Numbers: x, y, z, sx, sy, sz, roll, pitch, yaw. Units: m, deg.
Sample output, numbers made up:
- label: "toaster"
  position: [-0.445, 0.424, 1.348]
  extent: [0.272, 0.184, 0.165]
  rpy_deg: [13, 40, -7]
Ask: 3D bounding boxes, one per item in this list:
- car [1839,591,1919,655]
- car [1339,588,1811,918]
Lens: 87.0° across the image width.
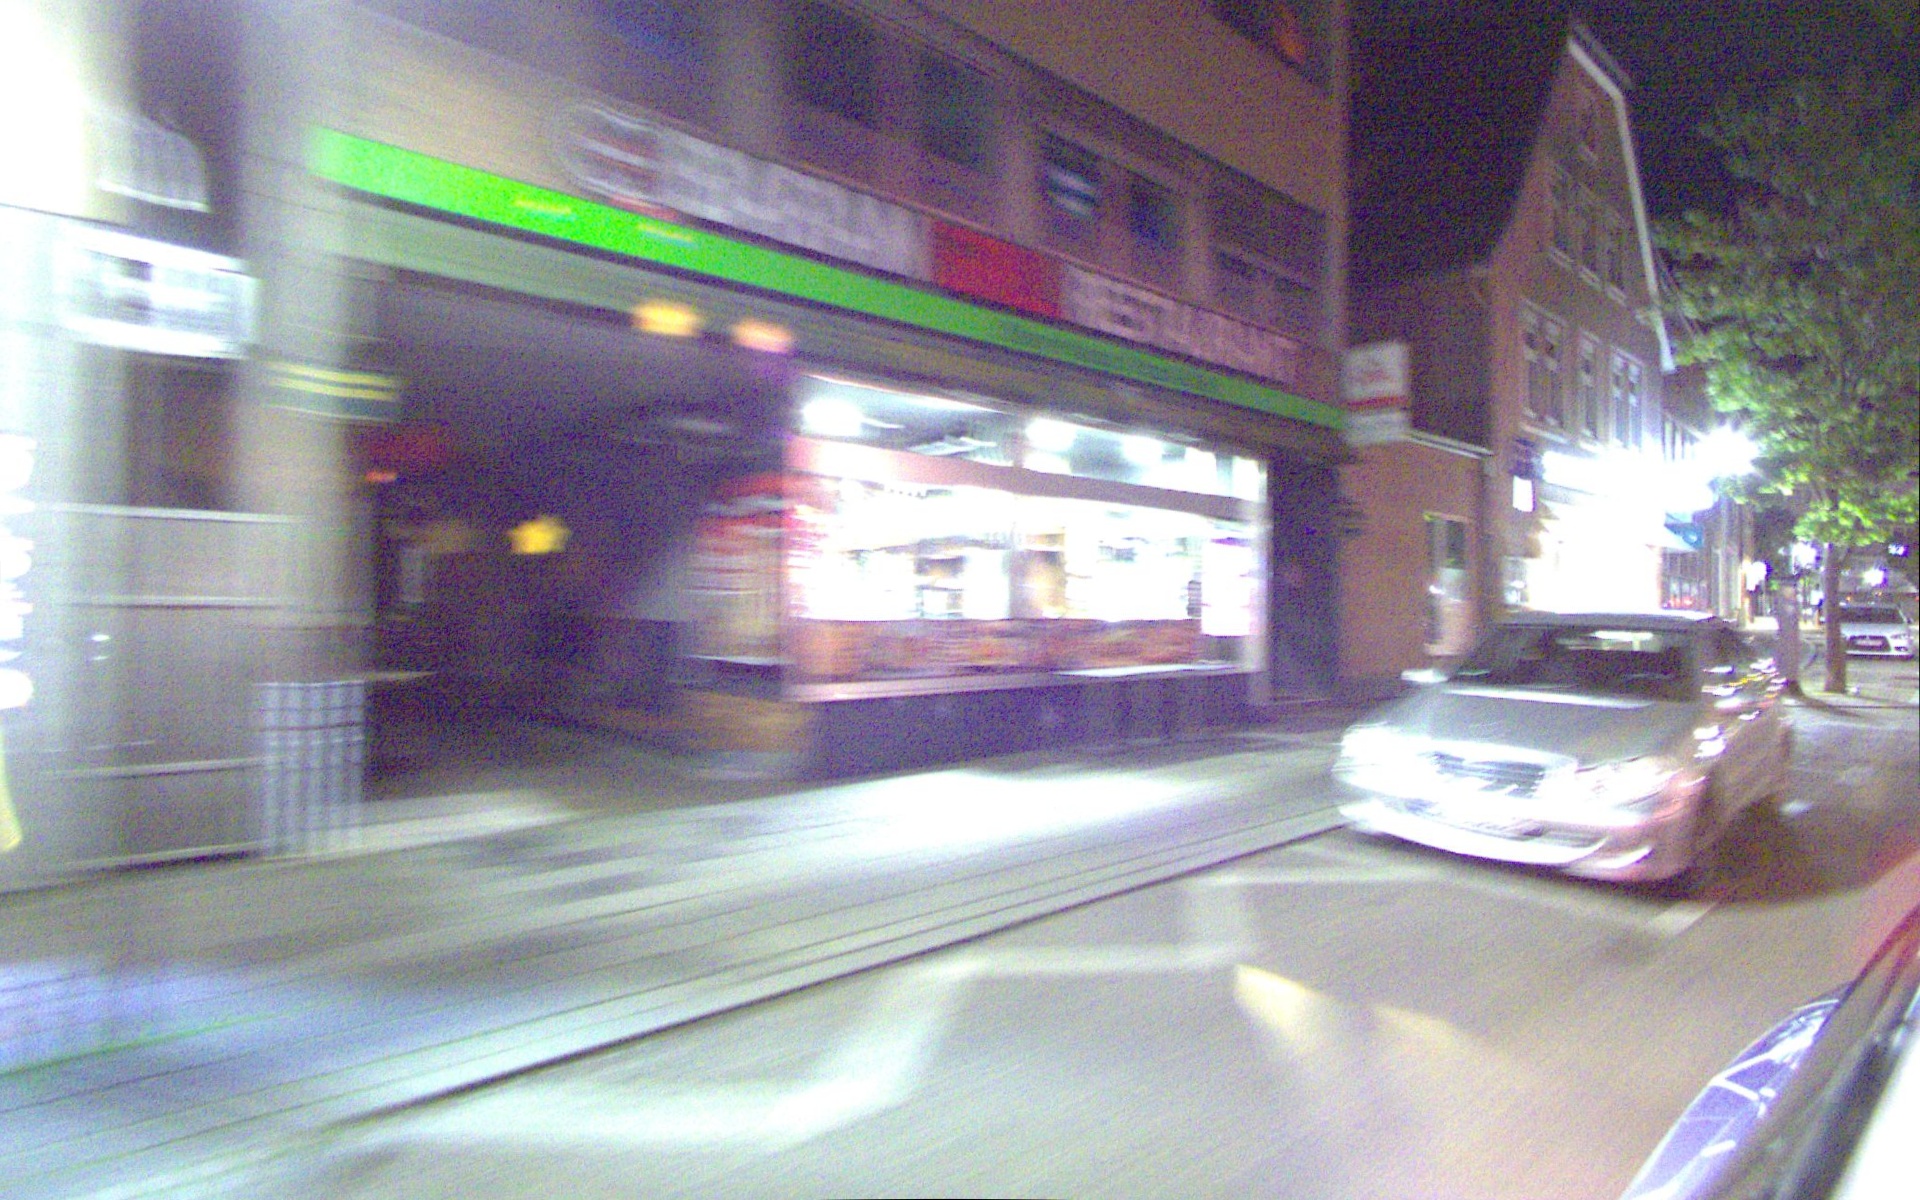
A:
- label: "car"
  position: [24.825, 0.555, 27.219]
  extent: [1.741, 1.506, 4.567]
  rpy_deg: [0, 1, 41]
- label: "car"
  position: [4.299, 0.678, 6.702]
  extent: [1.735, 1.459, 4.424]
  rpy_deg: [1, 0, 44]
